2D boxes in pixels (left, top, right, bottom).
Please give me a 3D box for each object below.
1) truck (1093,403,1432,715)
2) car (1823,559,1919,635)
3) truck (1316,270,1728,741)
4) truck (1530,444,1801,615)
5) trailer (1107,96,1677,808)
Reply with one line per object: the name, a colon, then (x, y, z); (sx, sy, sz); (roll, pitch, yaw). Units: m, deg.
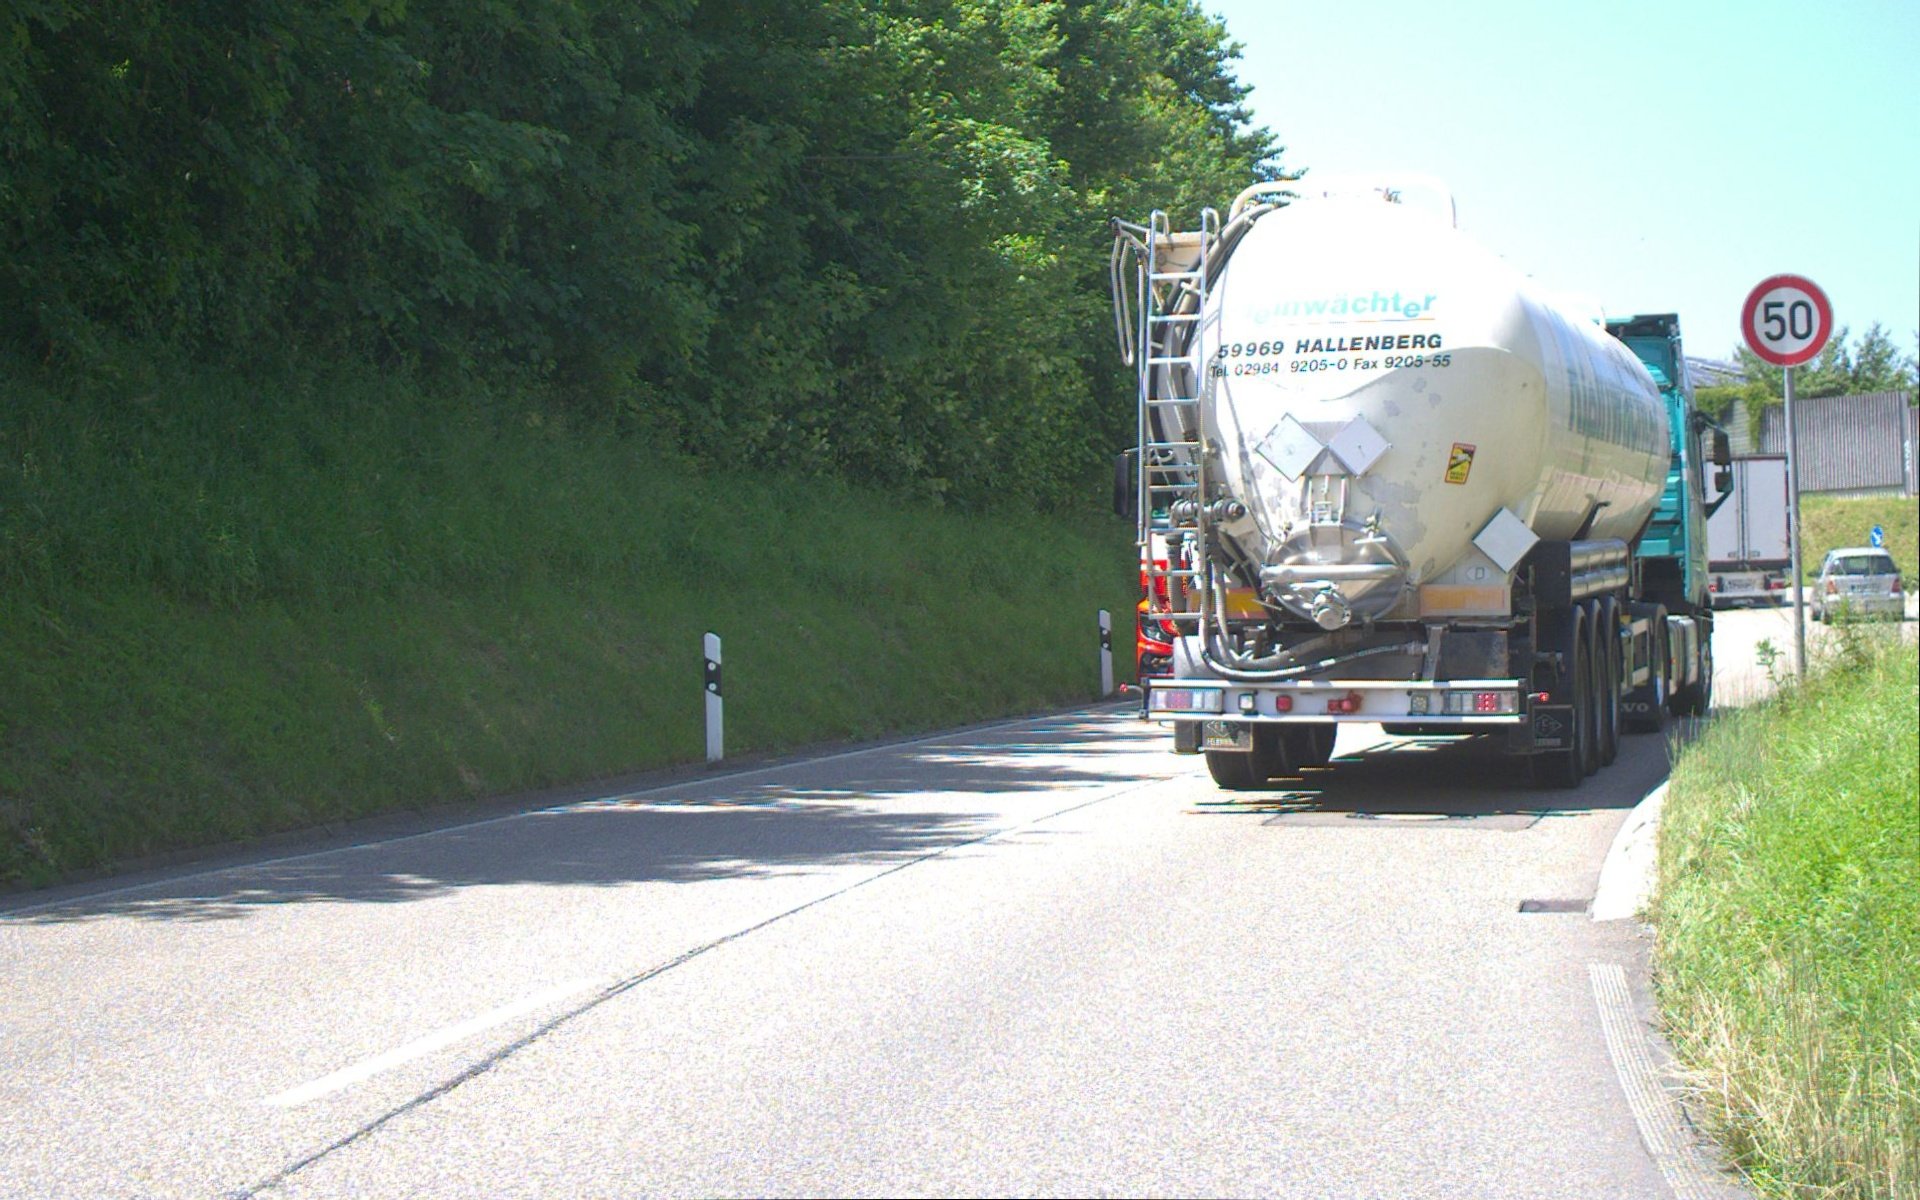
truck: (3.551, -0.431, 38.636); (2.627, 3.160, 7.063); (-1, 0, 14)
car: (19.007, -0.042, 71.568); (1.649, 1.504, 3.635); (1, 0, 19)
truck: (5.491, -0.815, 32.485); (2.729, 3.916, 7.256); (0, 0, 18)
truck: (18.828, -1.893, 92.783); (3.189, 4.295, 11.803); (1, 1, -9)
trailer: (3.743, -0.894, 26.239); (2.663, 4.174, 11.895); (-1, 0, 15)
